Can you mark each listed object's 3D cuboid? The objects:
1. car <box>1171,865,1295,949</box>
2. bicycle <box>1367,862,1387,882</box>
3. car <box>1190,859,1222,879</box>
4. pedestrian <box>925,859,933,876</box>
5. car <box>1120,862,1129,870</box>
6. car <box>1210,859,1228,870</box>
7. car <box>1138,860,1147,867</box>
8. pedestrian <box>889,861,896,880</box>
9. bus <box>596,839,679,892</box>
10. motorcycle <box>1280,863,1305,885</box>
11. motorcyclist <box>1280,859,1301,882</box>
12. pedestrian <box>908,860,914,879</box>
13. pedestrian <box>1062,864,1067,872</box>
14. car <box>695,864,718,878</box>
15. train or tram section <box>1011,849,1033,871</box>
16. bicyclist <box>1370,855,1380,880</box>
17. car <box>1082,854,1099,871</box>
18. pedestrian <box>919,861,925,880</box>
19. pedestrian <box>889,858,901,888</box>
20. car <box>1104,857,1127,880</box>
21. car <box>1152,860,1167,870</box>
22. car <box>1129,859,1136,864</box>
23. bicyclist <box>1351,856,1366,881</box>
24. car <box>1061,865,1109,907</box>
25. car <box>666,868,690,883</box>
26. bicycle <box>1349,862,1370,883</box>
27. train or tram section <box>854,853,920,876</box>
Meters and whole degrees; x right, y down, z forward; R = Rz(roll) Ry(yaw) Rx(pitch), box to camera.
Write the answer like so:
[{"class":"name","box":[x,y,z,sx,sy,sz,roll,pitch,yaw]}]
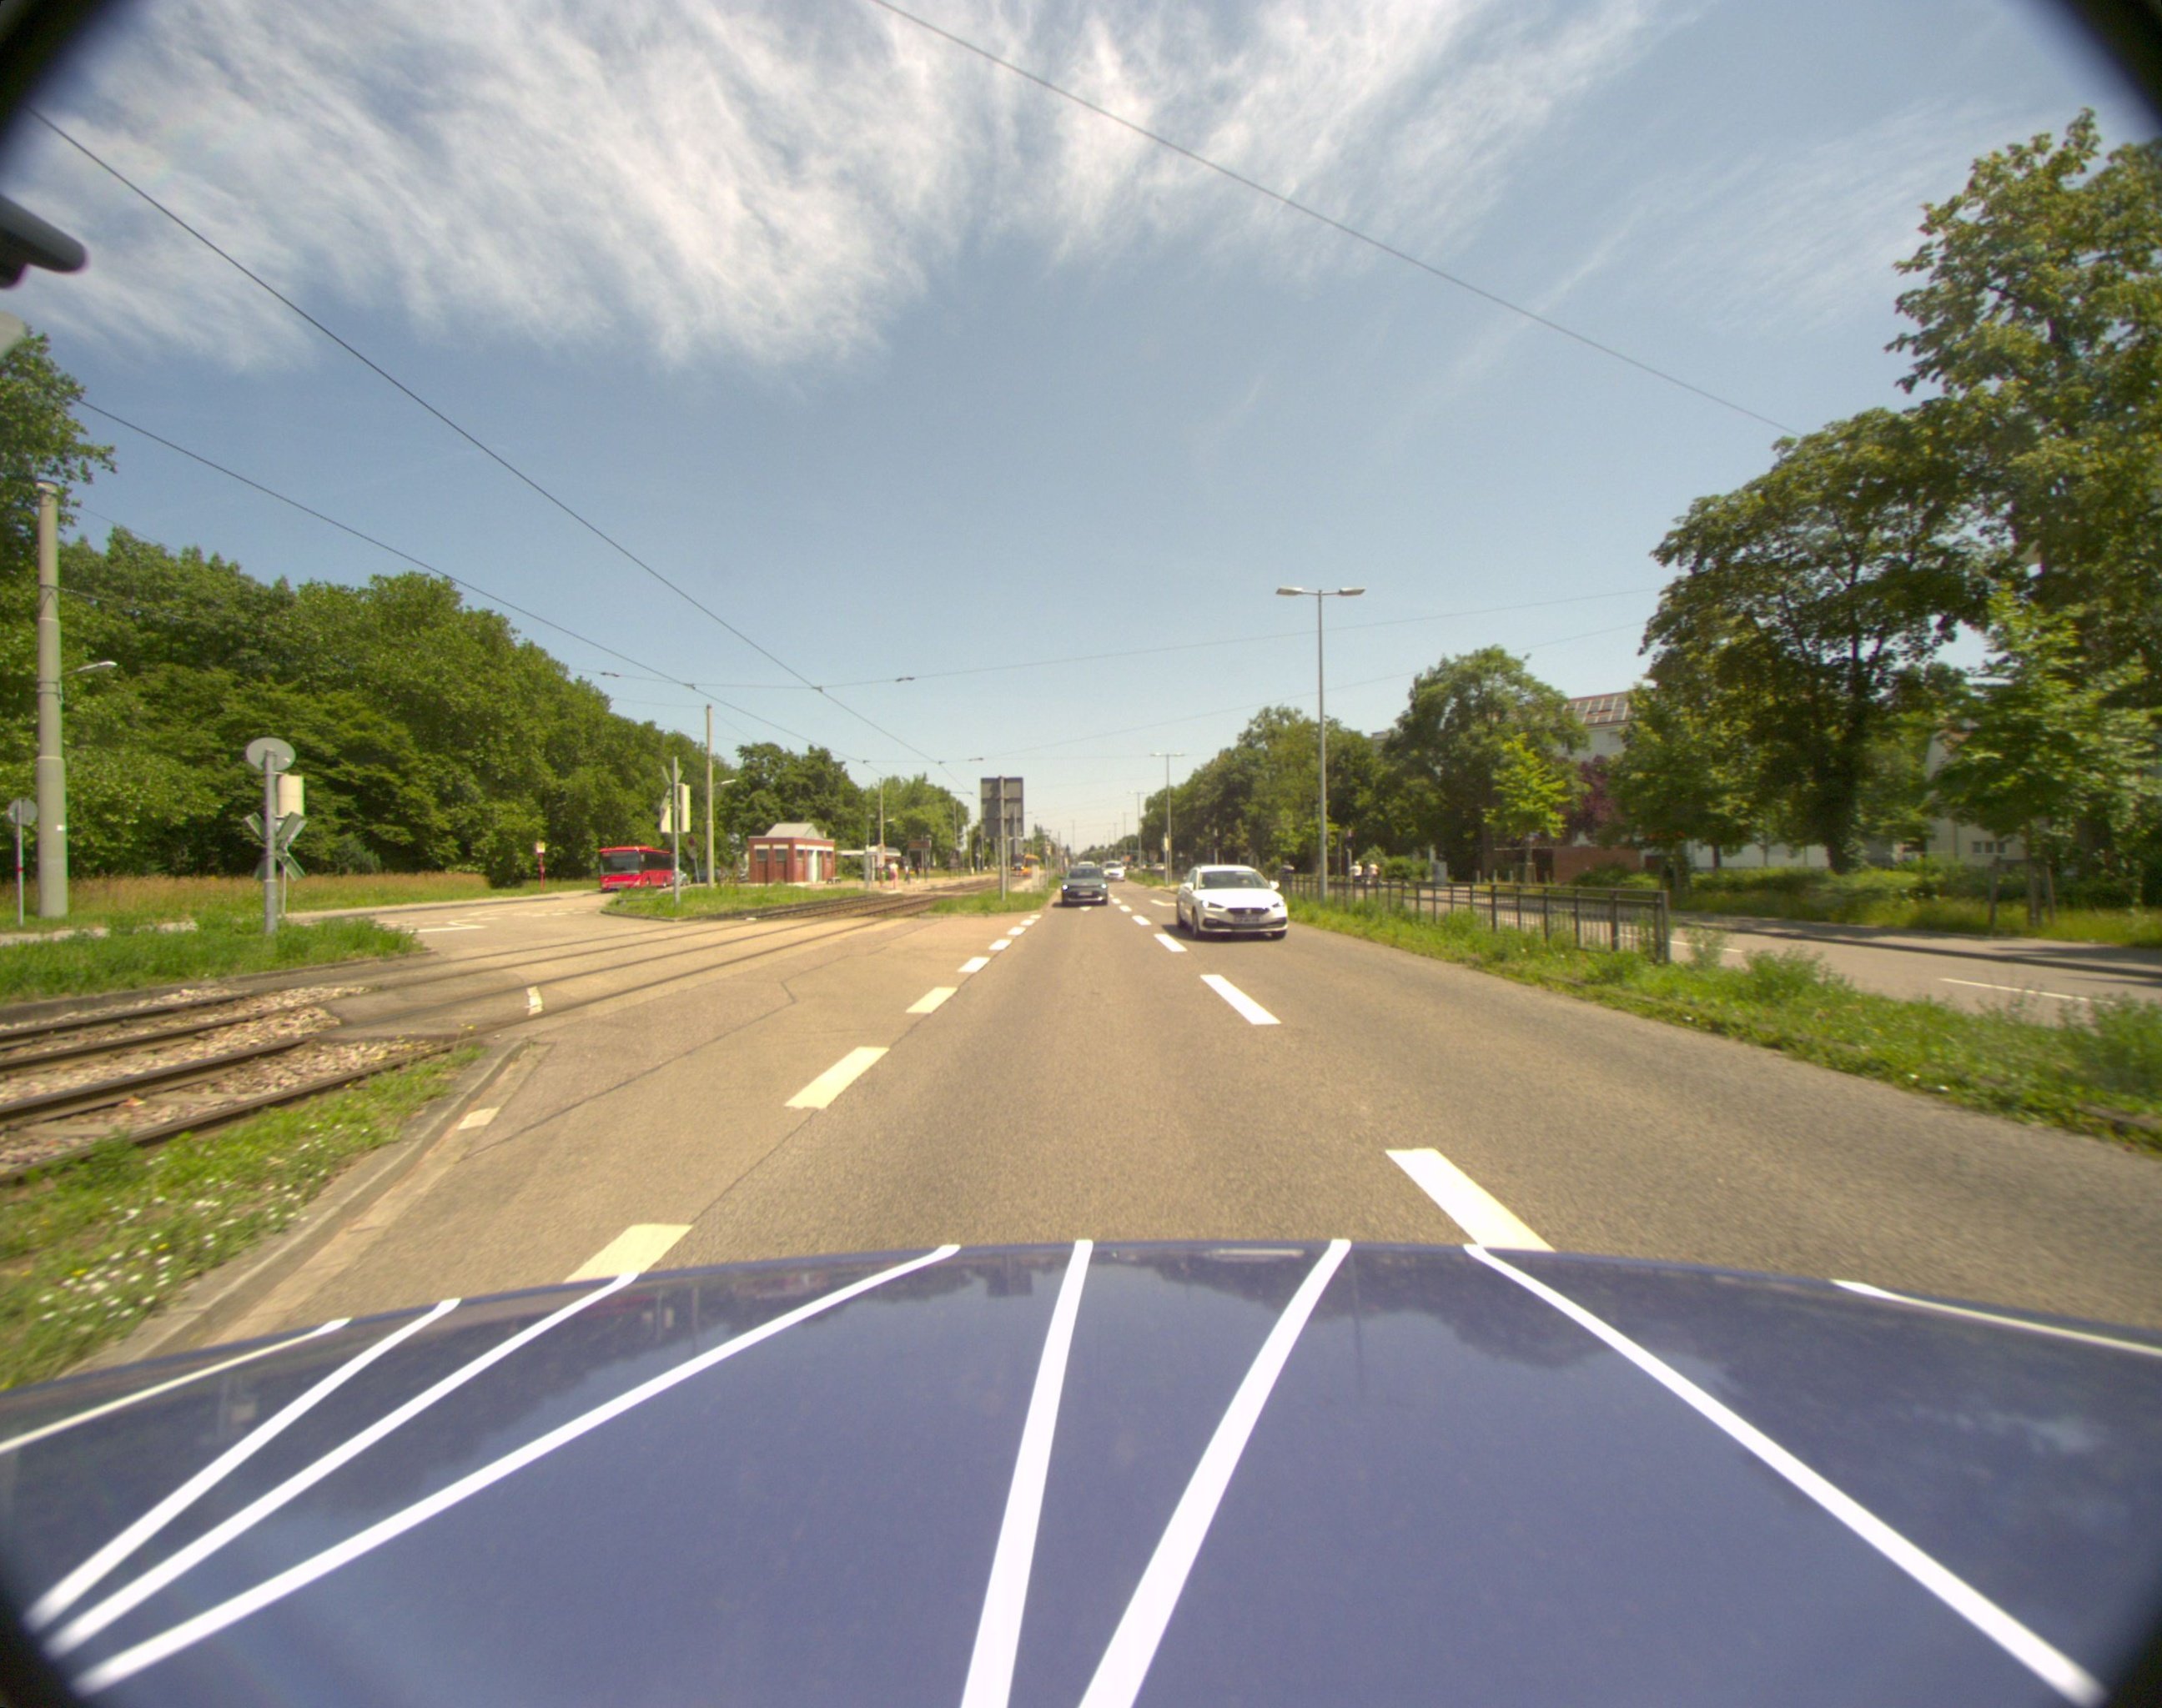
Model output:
[{"class":"car","box":[3.061,1.014,16.154,1.772,1.459,4.111,-2,0,0]},{"class":"bicycle","box":[16.403,0.992,42.118,0.555,1.088,1.379,-2,1,2]},{"class":"car","box":[9.665,1.132,59.126,1.760,1.534,4.161,0,0,0]},{"class":"pedestrian","box":[-15.646,1.427,78.259,0.707,1.754,0.658,0,0,2]},{"class":"car","box":[11.559,3.098,201.578,1.998,2.002,4.000,0,0,1]},{"class":"car","box":[20.352,1.524,112.353,1.998,1.575,4.000,0,0,0]},{"class":"car","box":[15.882,2.396,195.339,1.864,1.748,4.479,-1,0,-2]},{"class":"pedestrian","box":[-17.531,1.535,70.656,0.382,1.763,0.740,0,0,3]},{"class":"bus","box":[-32.831,0.800,56.856,2.770,3.419,12.425,-3,1,-19]},{"class":"motorcycle","box":[12.730,1.183,45.793,0.807,1.291,2.395,0,0,-1]},{"class":"motorcyclist","box":[12.673,0.989,45.975,0.738,1.395,1.512,0,0,-5]},{"class":"pedestrian","box":[-14.857,1.366,66.412,0.361,1.587,0.483,-2,1,3]},{"class":"pedestrian","box":[-2.236,1.893,101.316,0.577,1.034,0.579,-1,0,1]},{"class":"car","box":[-43.127,1.922,87.540,1.889,1.502,3.994,0,0,-19]},{"class":"train or tram section","box":[-8.983,0.882,116.509,2.524,3.303,7.261,-1,0,1]},{"class":"bicyclist","box":[16.401,0.744,42.332,0.358,1.383,0.440,-2,0,3]},{"class":"car","box":[1.130,1.047,92.272,1.921,2.002,4.000,-1,0,0]},{"class":"pedestrian","box":[-13.800,1.418,65.841,0.361,1.636,0.445,0,0,3]},{"class":"pedestrian","box":[-11.097,1.154,45.379,0.637,1.749,0.816,-3,1,-13]},{"class":"car","box":[3.168,1.327,68.993,1.998,2.002,4.001,-1,0,2]},{"class":"car","box":[12.139,1.662,117.928,1.826,1.563,4.346,0,0,-2]},{"class":"car","box":[15.602,2.245,231.174,1.772,1.545,4.082,1,0,-1]},{"class":"bicyclist","box":[15.517,0.812,42.548,0.546,1.338,0.755,0,0,0]},{"class":"car","box":[0.230,1.228,30.857,1.787,1.554,4.136,0,0,2]},{"class":"car","box":[-37.131,1.987,70.042,1.575,1.258,3.993,0,0,-22]},{"class":"bicycle","box":[15.517,1.022,42.393,0.589,1.126,1.615,0,0,1]},{"class":"train or tram section","box":[-34.433,1.822,134.631,13.151,3.628,2.720,-2,1,31]}]
